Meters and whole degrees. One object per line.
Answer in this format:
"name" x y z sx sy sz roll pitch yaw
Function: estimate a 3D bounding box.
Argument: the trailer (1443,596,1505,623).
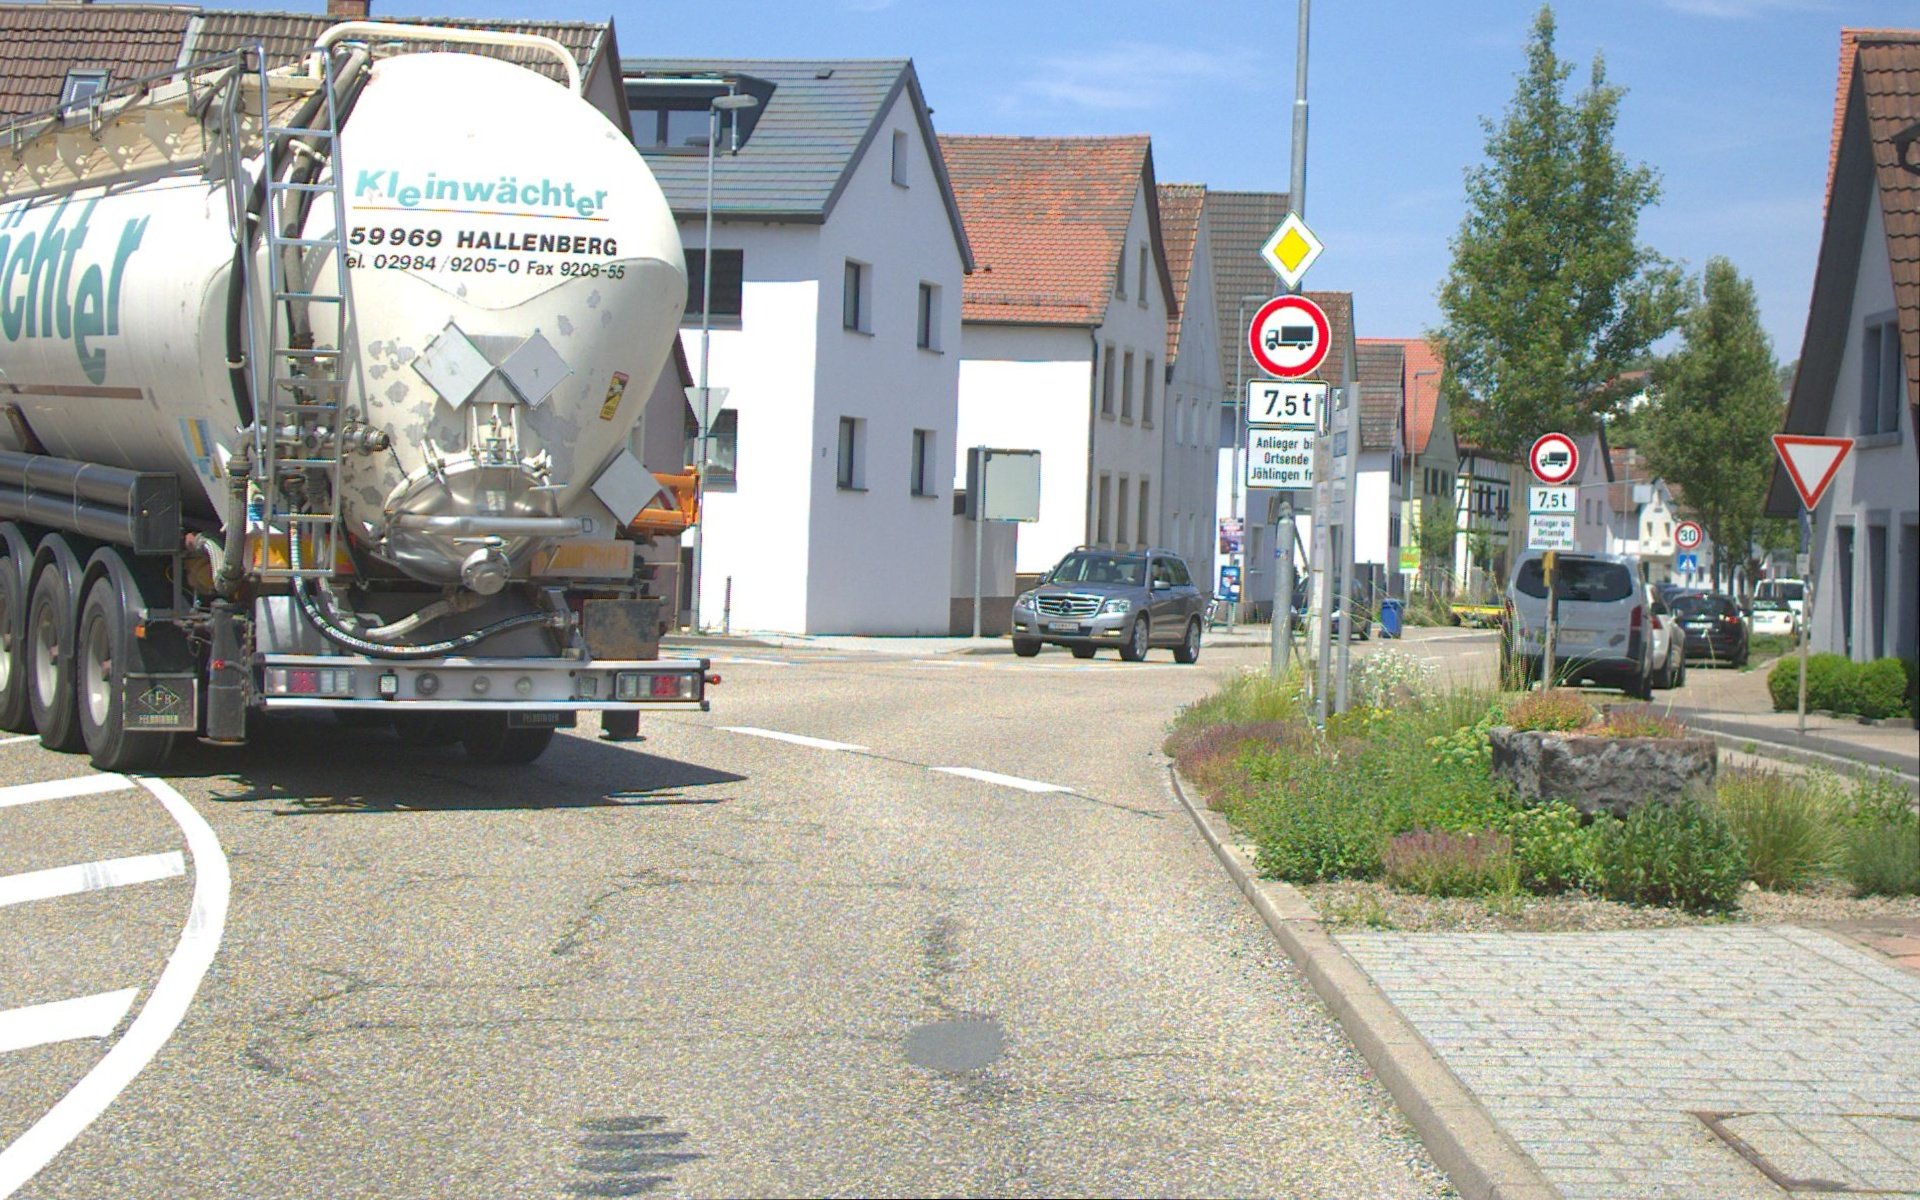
"trailer" 17.391 0.328 116.400 1.951 0.775 2.719 3 1 7

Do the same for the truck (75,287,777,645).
"truck" -5.390 -1.276 36.161 2.667 3.170 7.446 3 -1 36

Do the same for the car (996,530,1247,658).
"car" 2.392 -0.061 49.726 1.996 1.669 4.306 3 1 26

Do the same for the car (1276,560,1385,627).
"car" 9.544 -0.151 88.333 1.719 1.590 3.996 3 1 21

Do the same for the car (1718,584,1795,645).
"car" 22.666 0.395 97.785 1.995 1.579 3.997 3 1 14

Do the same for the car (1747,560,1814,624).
"car" 25.998 -0.268 108.949 1.995 1.985 3.998 1 1 14

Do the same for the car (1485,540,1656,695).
"car" 8.347 0.271 46.733 1.995 1.905 4.321 3 -1 13

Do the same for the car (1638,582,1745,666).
"car" 15.270 0.474 71.629 1.995 1.579 3.997 3 1 14

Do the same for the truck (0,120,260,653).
"truck" -8.637 -1.736 28.311 2.989 3.951 5.576 2 1 -43

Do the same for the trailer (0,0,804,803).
"trailer" -4.778 -1.237 21.753 2.952 3.934 11.622 3 1 -26

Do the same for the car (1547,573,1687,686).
"car" 10.356 0.431 54.014 1.818 1.629 4.204 3 1 15
